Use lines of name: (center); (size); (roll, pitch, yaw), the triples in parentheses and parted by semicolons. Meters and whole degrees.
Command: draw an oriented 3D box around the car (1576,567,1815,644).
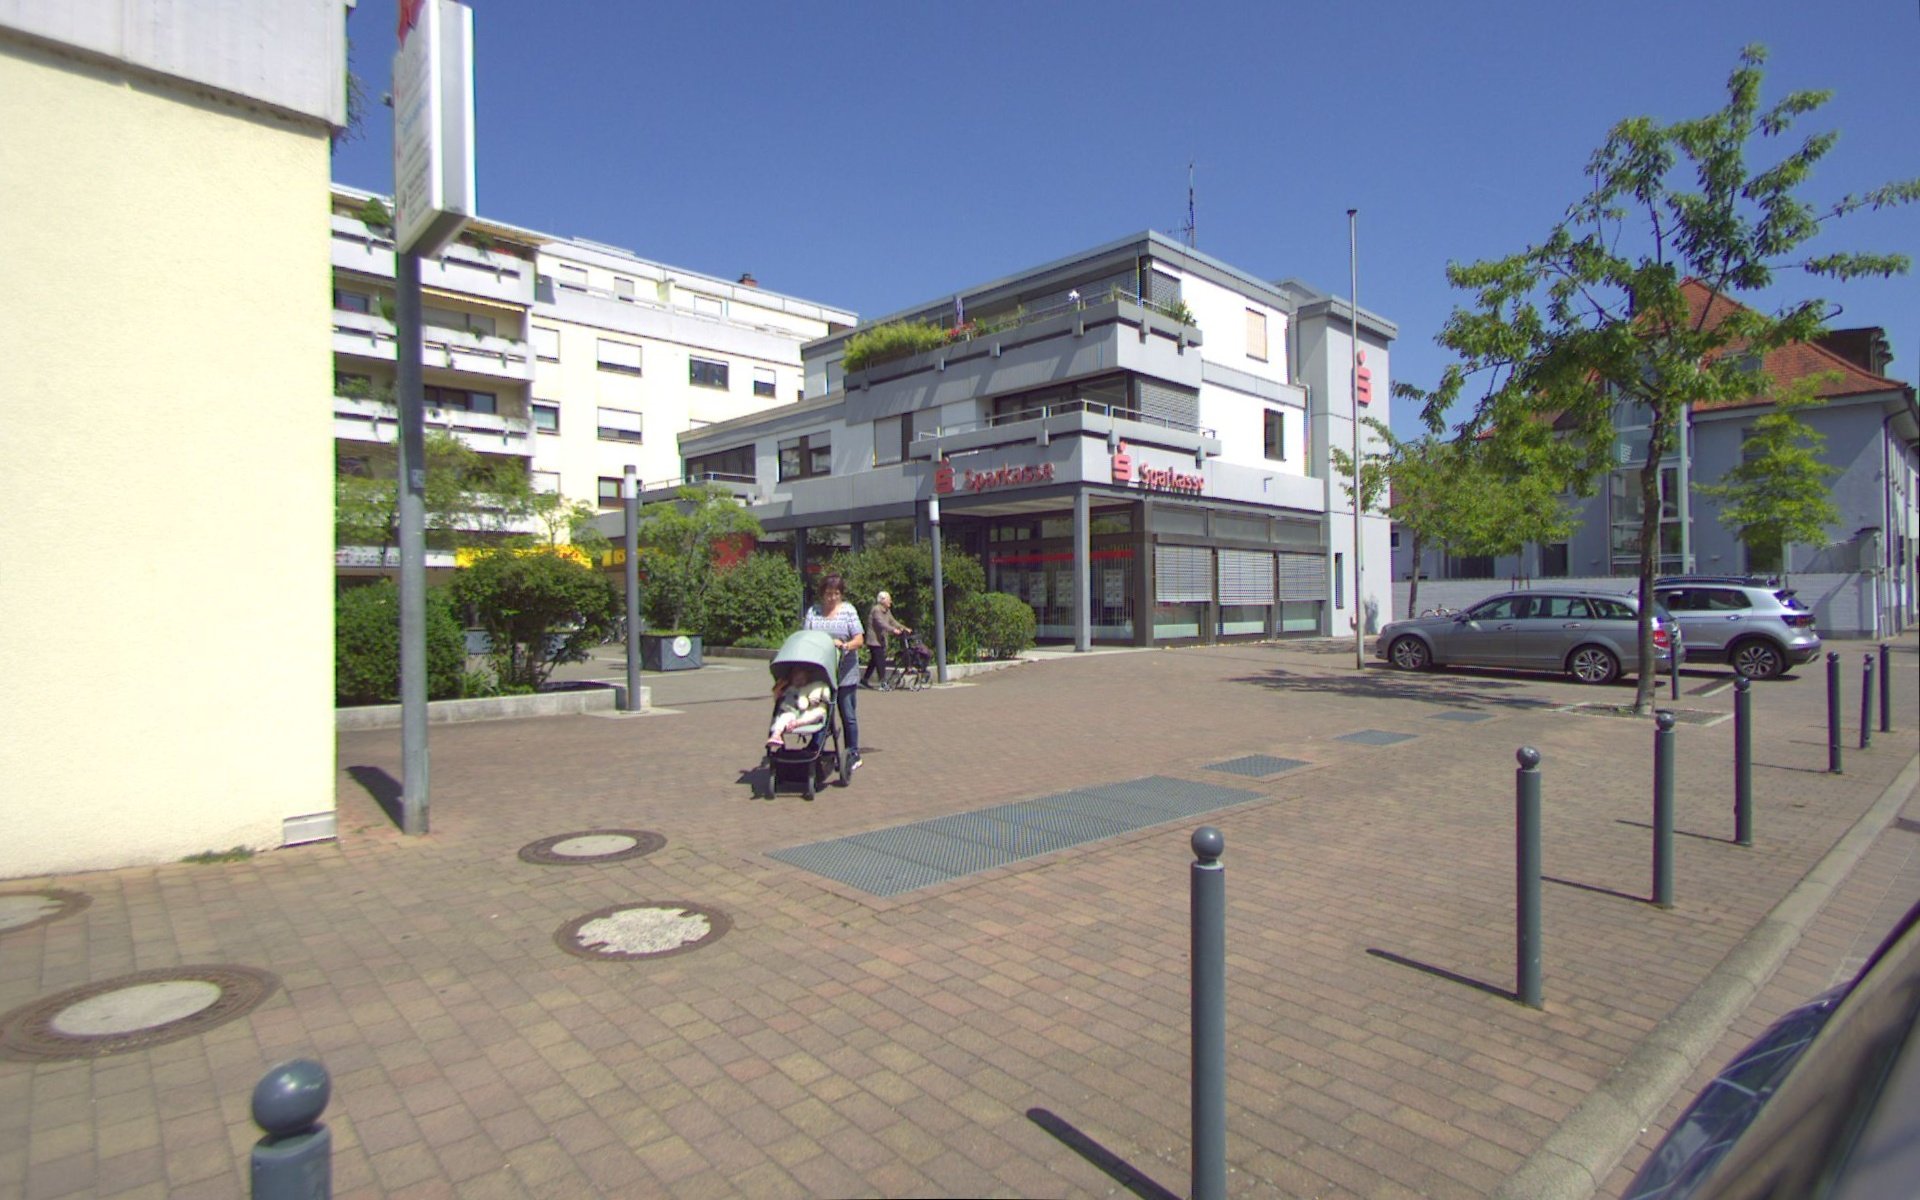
car: (18.722, 0.074, 25.908); (2.112, 1.793, 4.635); (0, 1, -43)

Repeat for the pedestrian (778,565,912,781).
pedestrian: (-0.869, 0.523, 7.752); (0.698, 1.540, 0.794); (-1, 0, 25)

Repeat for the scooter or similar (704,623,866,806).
scooter or similar: (-1.176, 0.732, 6.956); (0.621, 1.120, 1.035); (-1, 0, 24)

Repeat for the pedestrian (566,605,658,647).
pedestrian: (-11.366, 0.825, 33.149); (0.982, 1.290, 2.736); (-1, 0, 40)

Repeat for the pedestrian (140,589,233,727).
pedestrian: (-8.889, 0.643, 11.656); (0.606, 1.516, 0.813); (-1, 0, -17)

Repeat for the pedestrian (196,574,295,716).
pedestrian: (-9.272, 0.560, 13.135); (0.700, 1.758, 0.890); (-1, 0, 39)

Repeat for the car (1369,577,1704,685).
car: (9.513, 0.392, 16.951); (4.575, 1.531, 1.887); (2, 2, 43)

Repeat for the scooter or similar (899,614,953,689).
scooter or similar: (-0.513, 0.770, 15.377); (0.790, 1.088, 0.591); (-1, 0, 0)

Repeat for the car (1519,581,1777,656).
car: (15.239, 0.326, 22.582); (4.535, 1.458, 1.811); (2, 2, 43)

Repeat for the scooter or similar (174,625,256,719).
scooter or similar: (-9.127, 0.860, 12.427); (0.578, 1.088, 0.807); (-1, 0, -17)

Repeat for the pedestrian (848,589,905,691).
pedestrian: (-1.273, 0.597, 15.504); (0.796, 1.516, 0.669); (-1, -1, 0)

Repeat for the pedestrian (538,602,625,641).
pedestrian: (-13.213, 0.718, 35.423); (0.982, 1.290, 2.736); (-1, 0, 40)

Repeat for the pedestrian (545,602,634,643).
pedestrian: (-12.696, 0.750, 34.749); (0.982, 1.290, 2.736); (-1, 0, 40)

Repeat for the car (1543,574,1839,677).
car: (12.731, 0.339, 17.781); (3.988, 1.593, 1.828); (2, 2, 45)

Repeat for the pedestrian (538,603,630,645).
pedestrian: (-12.446, 0.781, 33.571); (0.982, 1.290, 2.736); (-1, 0, 40)
